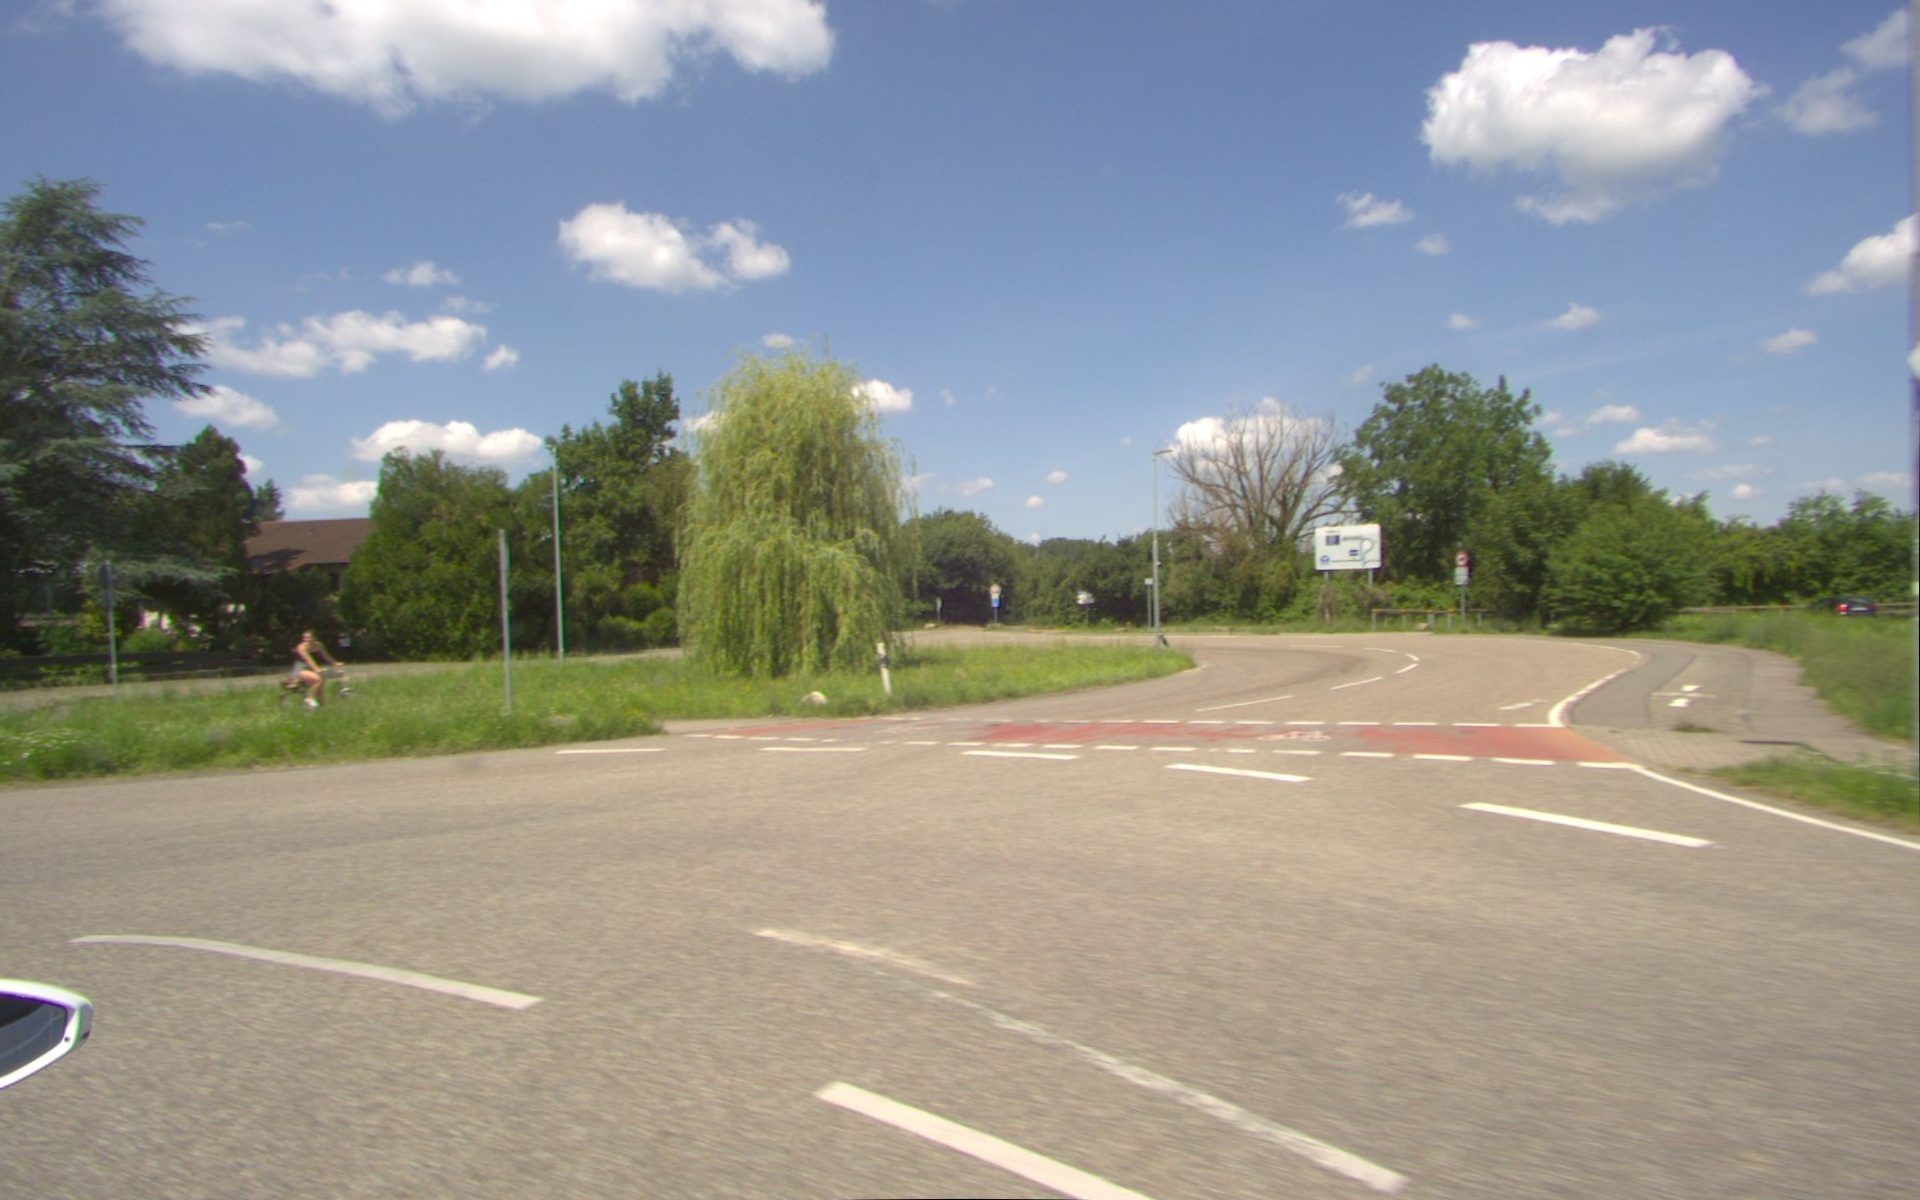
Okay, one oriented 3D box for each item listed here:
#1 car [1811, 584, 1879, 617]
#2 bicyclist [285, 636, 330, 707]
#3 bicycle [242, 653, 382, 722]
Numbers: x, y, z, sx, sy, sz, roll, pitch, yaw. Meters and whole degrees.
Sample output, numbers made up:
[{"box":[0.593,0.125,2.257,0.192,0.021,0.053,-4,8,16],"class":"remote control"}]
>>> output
[{"box":[40.397,0.054,45.779,1.395,1.355,3.110,-2,-2,24],"class":"car"},{"box":[-12.039,1.319,18.483,0.501,1.272,0.469,-1,0,-2],"class":"bicyclist"},{"box":[-11.937,1.601,18.494,2.105,1.180,0.661,-1,0,-3],"class":"bicycle"}]
